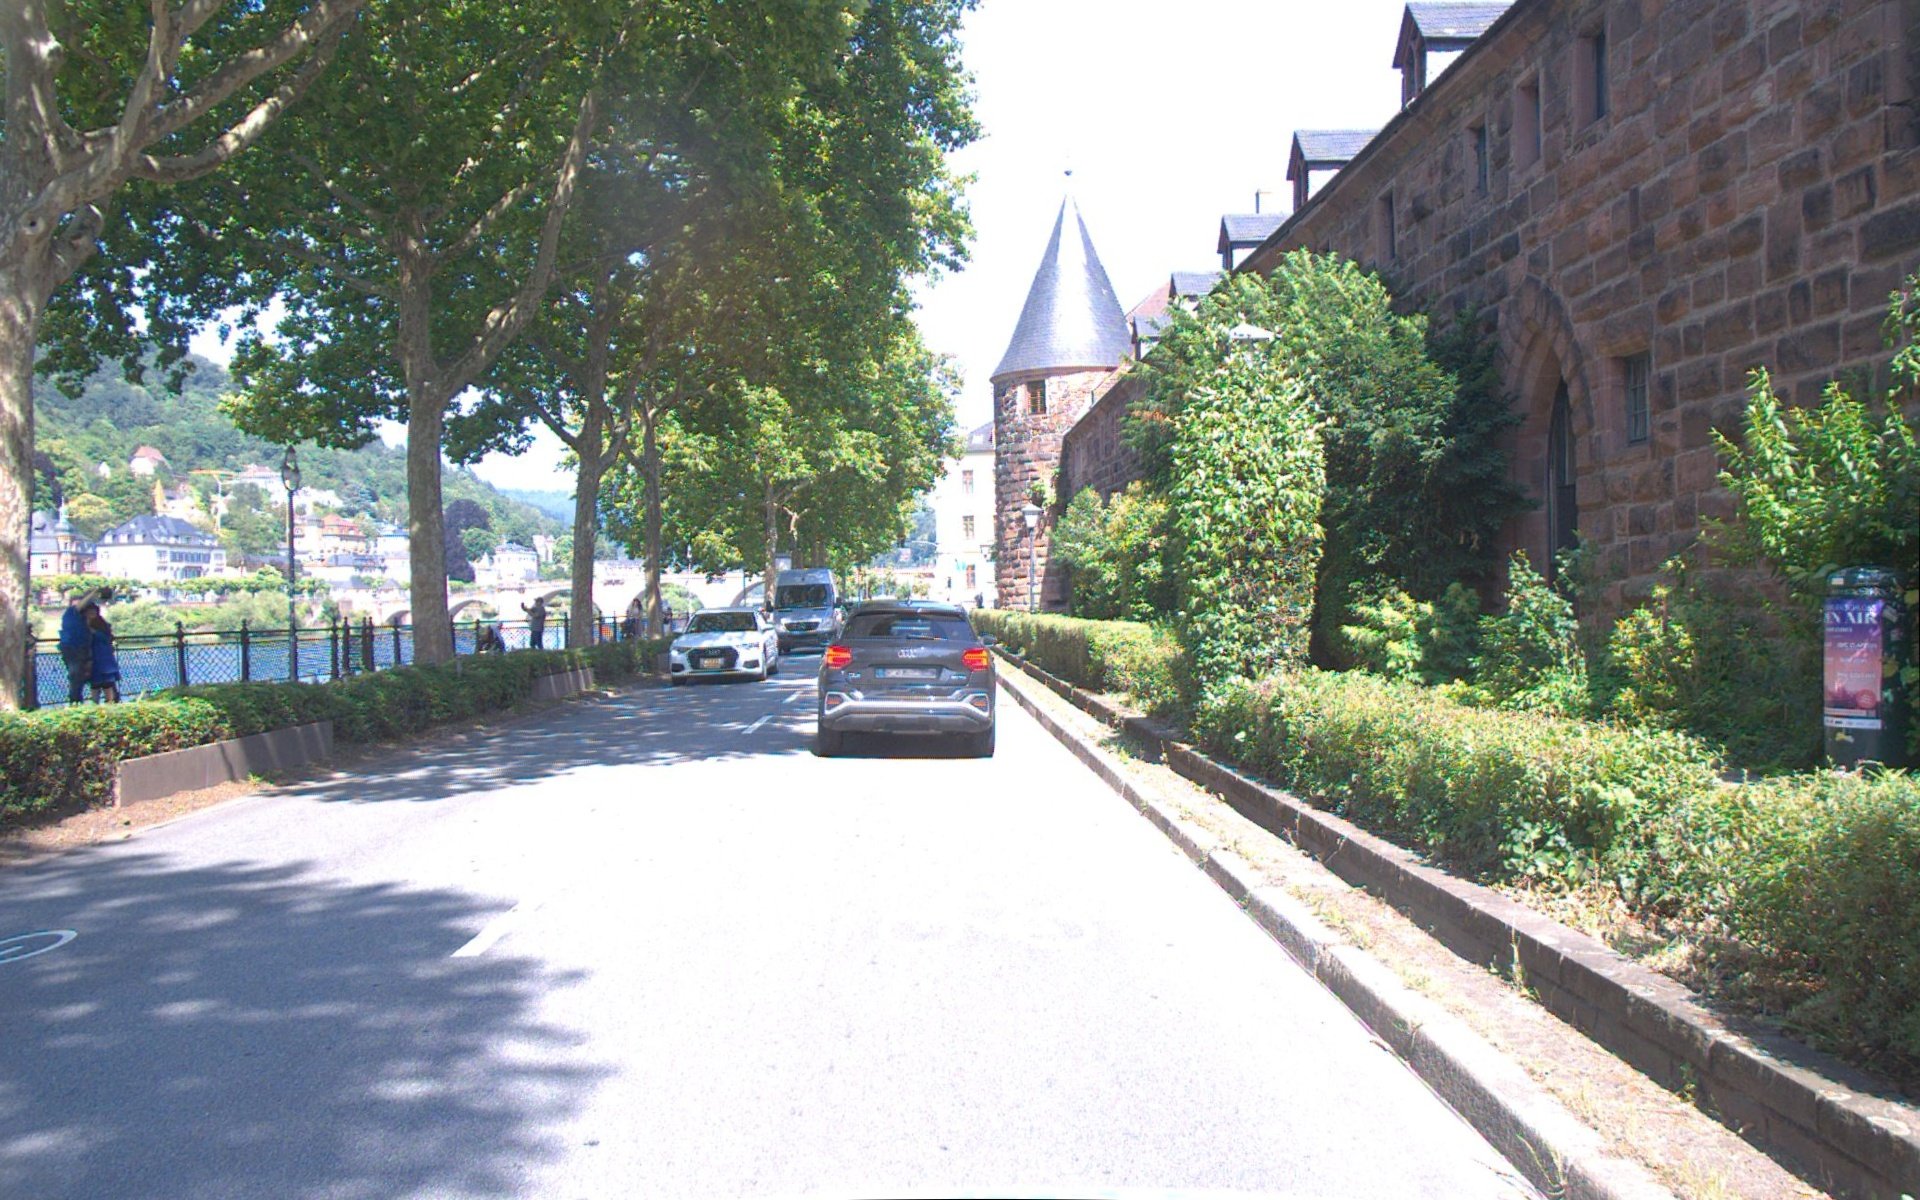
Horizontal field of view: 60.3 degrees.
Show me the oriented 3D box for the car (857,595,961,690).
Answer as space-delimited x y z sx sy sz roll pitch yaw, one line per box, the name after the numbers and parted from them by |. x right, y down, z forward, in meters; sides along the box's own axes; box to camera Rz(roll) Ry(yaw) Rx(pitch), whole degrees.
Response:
-0.908 0.740 30.884 1.764 1.590 3.715 -2 0 0 | car

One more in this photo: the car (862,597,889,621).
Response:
-6.187 0.637 121.701 1.727 1.676 4.089 -2 0 0 | car

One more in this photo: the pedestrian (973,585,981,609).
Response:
1.165 -0.216 113.435 0.545 1.661 0.660 0 -1 -1 | pedestrian

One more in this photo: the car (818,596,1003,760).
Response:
-0.541 0.734 17.260 1.713 1.521 3.627 1 0 -3 | car

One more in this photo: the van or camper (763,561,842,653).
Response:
-4.879 0.235 51.927 1.921 2.612 5.838 -3 0 -2 | van or camper

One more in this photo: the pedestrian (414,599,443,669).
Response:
-13.432 0.858 41.783 0.573 1.740 0.403 1 -1 -4 | pedestrian

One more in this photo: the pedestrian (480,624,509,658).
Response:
-12.865 1.128 45.714 0.595 0.899 0.705 -1 0 -2 | pedestrian

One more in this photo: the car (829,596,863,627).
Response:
-6.632 0.660 96.695 1.839 1.728 4.256 -2 0 -3 | car

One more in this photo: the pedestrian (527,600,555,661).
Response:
-11.436 0.821 45.169 0.631 1.647 0.458 1 -1 -4 | pedestrian

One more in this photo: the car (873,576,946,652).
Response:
-1.465 0.399 48.137 1.953 2.049 3.999 -2 0 -2 | car

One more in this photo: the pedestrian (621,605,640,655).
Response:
-10.598 0.949 53.161 0.448 1.581 0.585 -2 0 -2 | pedestrian

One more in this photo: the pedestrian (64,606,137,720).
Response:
-12.505 0.905 24.077 0.689 1.631 0.705 -1 -1 0 | pedestrian

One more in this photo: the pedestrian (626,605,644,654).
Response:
-10.678 0.951 54.330 0.448 1.581 0.585 -2 0 -2 | pedestrian

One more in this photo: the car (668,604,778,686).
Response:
-4.756 0.871 33.759 1.734 1.482 4.531 -2 0 -3 | car

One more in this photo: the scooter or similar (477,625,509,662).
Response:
-12.862 1.187 45.568 0.618 0.985 1.012 0 -1 -2 | scooter or similar
